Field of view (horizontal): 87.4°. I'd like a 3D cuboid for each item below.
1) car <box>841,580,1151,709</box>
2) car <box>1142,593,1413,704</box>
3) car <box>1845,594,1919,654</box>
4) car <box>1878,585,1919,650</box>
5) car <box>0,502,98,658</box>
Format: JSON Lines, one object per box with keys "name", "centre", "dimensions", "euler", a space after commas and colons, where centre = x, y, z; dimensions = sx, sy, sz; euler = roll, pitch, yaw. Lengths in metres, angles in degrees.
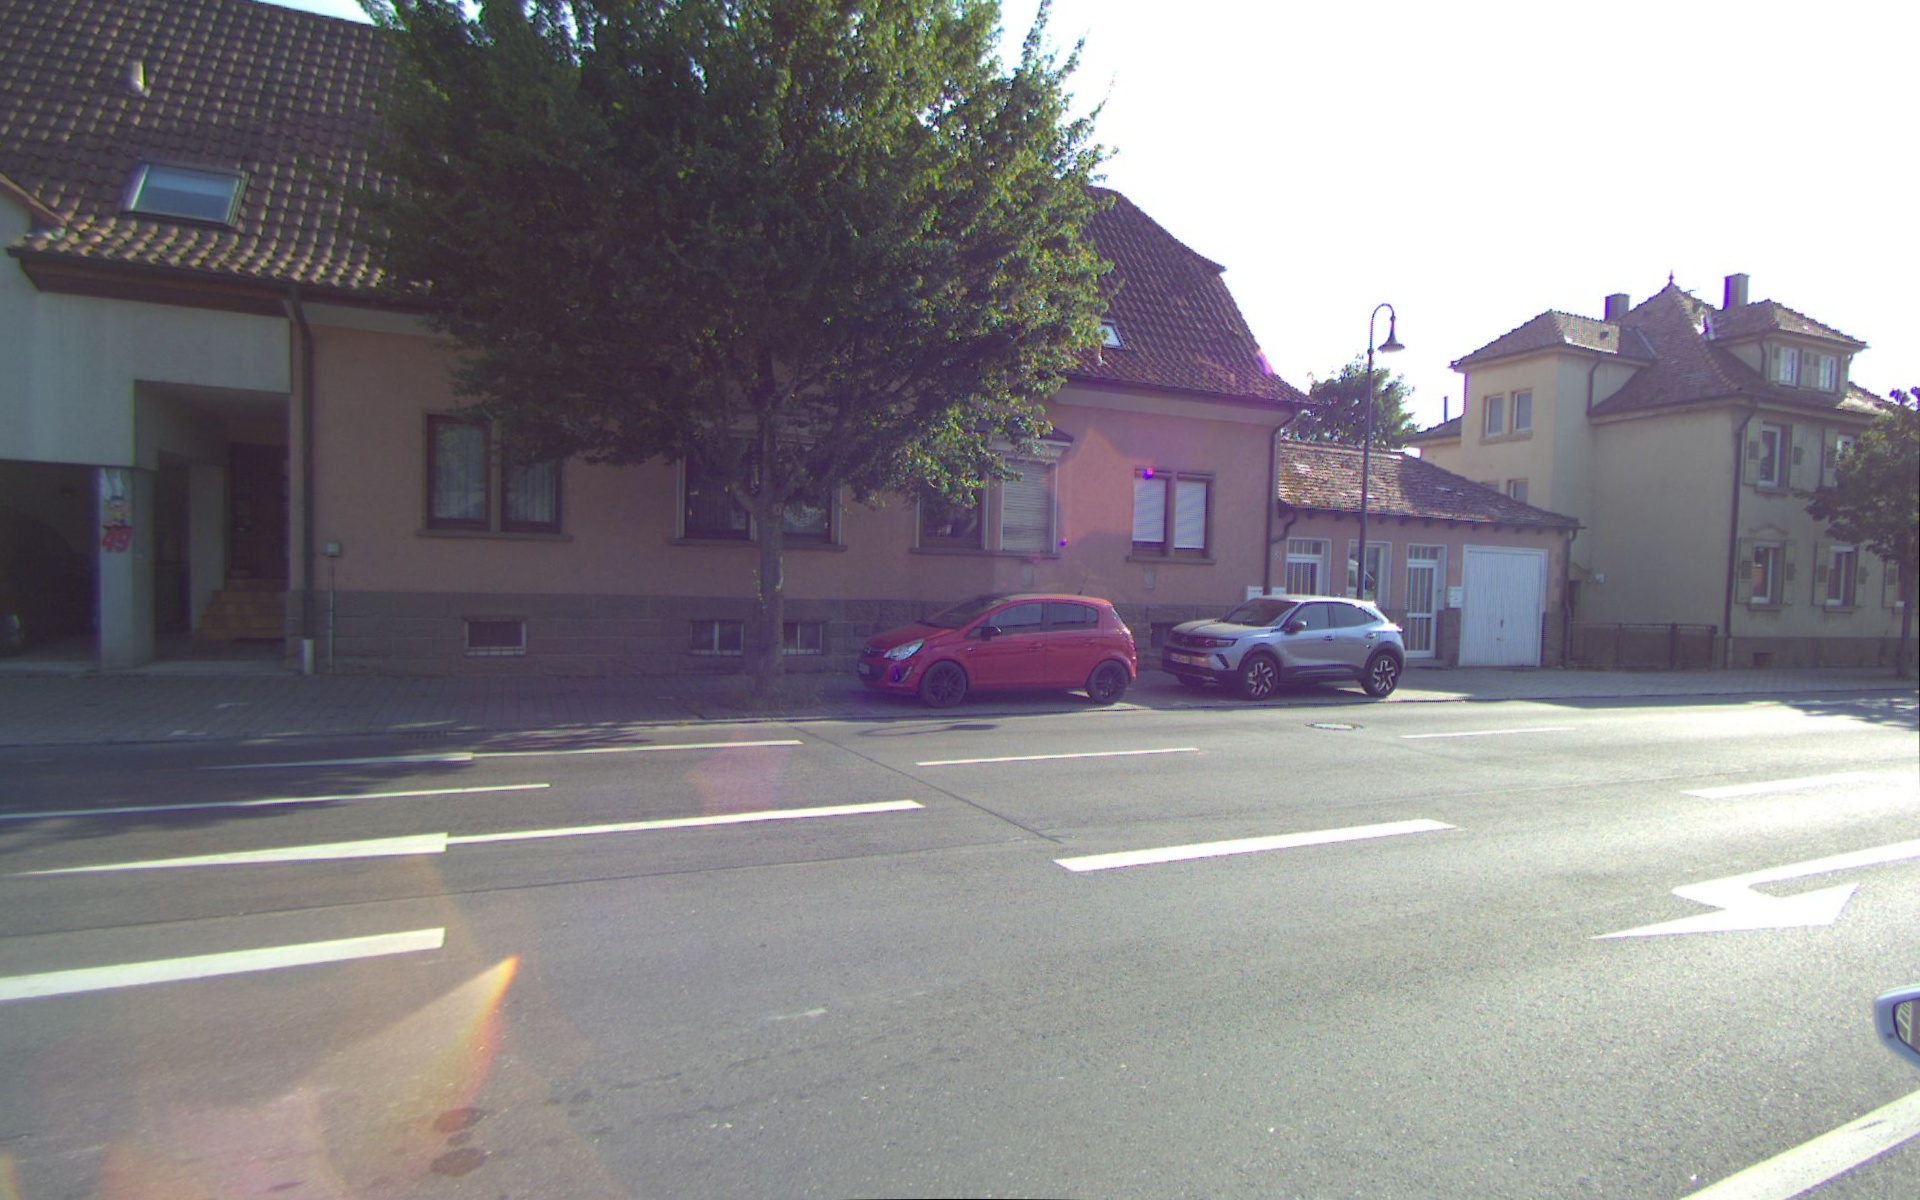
{"name": "car", "centre": [0.498, 0.577, 13.950], "dimensions": [3.943, 1.507, 1.661], "euler": [1, 4, -23]}
{"name": "car", "centre": [5.096, 0.720, 16.119], "dimensions": [3.944, 1.499, 1.750], "euler": [1, 4, -24]}
{"name": "car", "centre": [34.650, 0.894, 35.273], "dimensions": [1.910, 2.026, 4.958], "euler": [1, 2, -26]}
{"name": "car", "centre": [39.422, 0.762, 38.460], "dimensions": [2.164, 2.514, 5.901], "euler": [0, 2, -25]}
{"name": "car", "centre": [-13.094, -0.341, 13.168], "dimensions": [1.755, 1.906, 3.808], "euler": [1, 3, -25]}
